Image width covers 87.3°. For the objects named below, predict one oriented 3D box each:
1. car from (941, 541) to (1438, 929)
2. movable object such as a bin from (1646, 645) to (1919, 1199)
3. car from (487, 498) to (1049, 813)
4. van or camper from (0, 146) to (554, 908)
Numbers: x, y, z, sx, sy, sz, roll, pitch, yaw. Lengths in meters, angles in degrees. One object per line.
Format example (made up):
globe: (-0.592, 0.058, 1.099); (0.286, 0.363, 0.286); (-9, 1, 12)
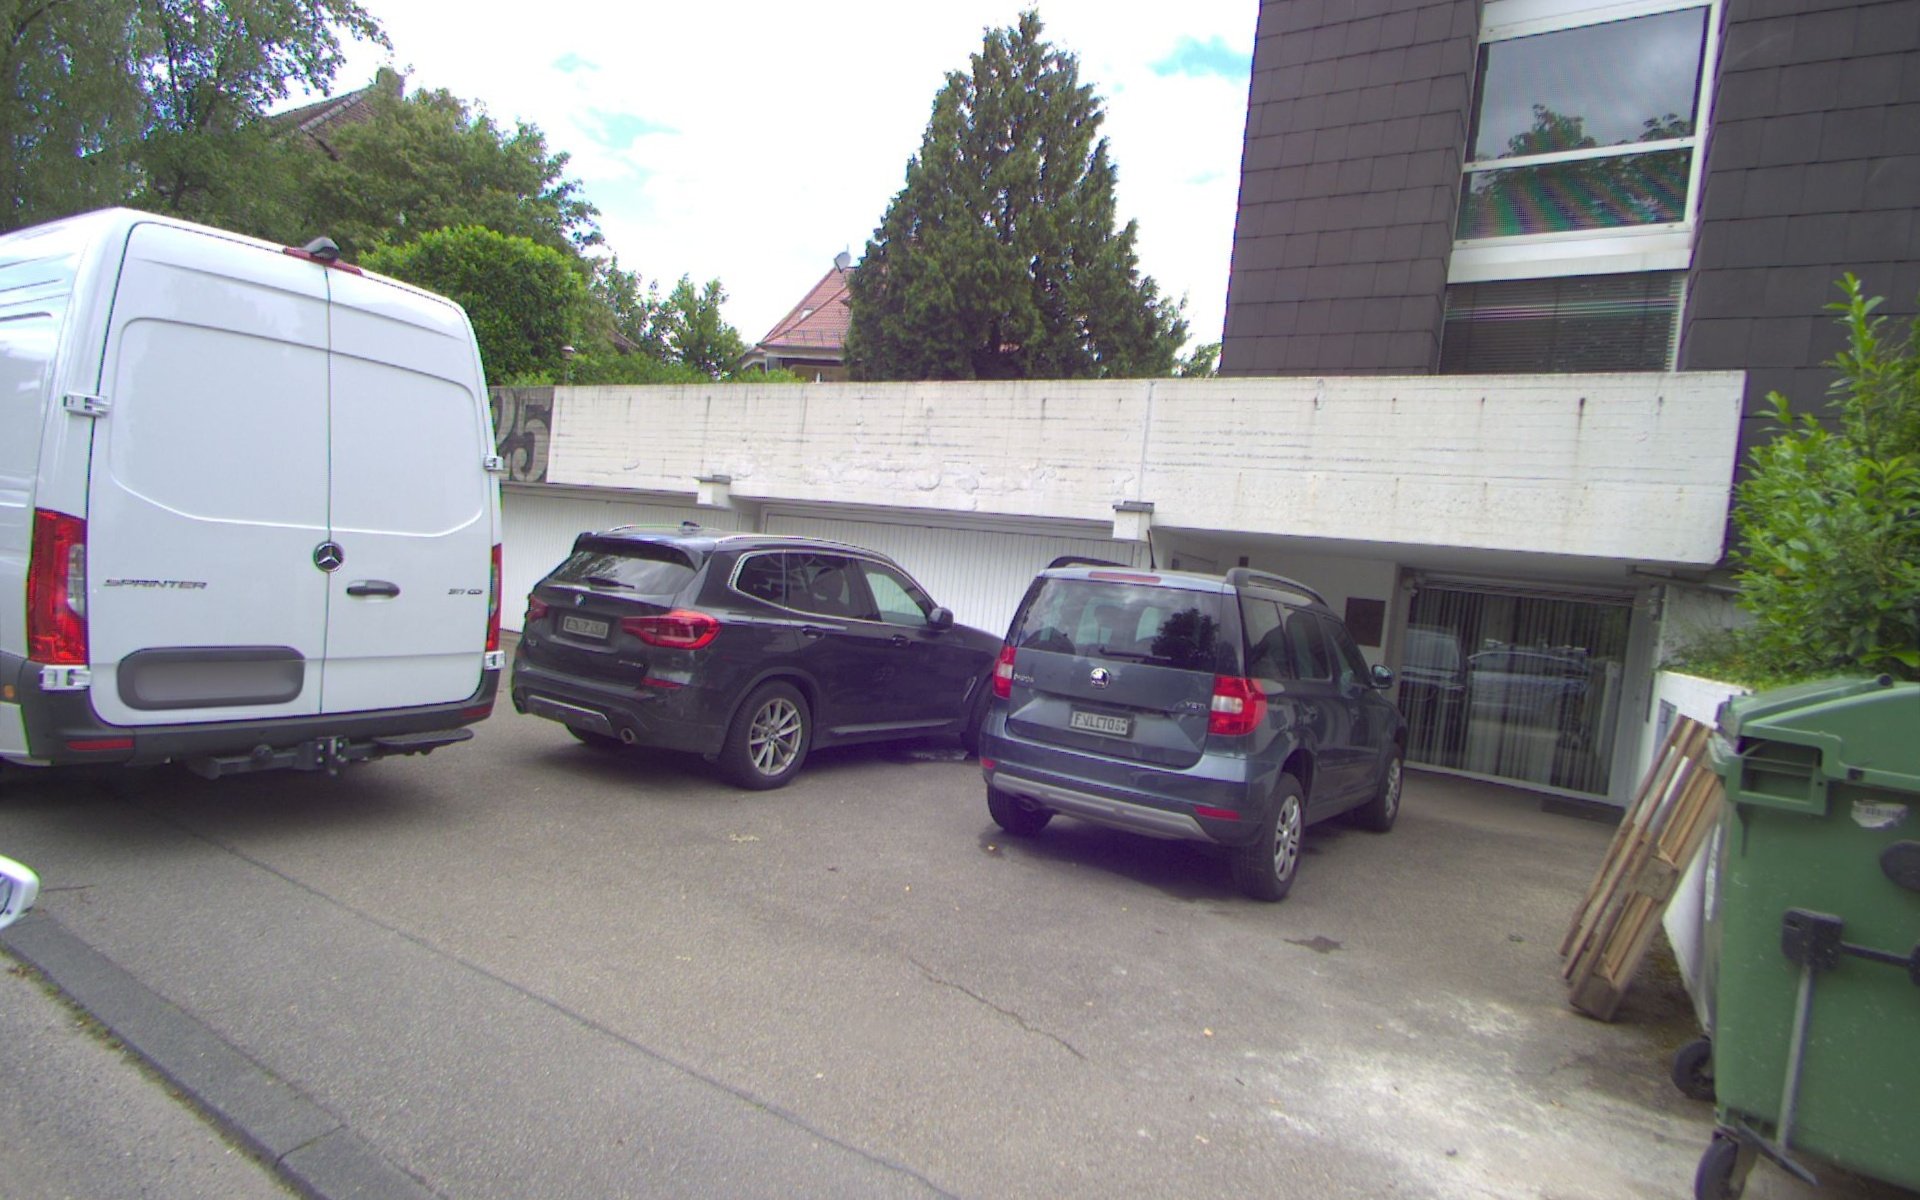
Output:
car: (1.775, 0.673, 6.622); (1.717, 1.673, 3.899); (6, 1, 35)
movable object such as a bin: (2.699, 0.929, 2.801); (1.098, 1.469, 1.405); (6, 1, 32)
car: (-1.116, 0.356, 7.862); (1.668, 1.696, 4.383); (6, 1, 32)
van or camper: (-5.398, -0.508, 6.066); (6.436, 2.662, 1.990); (6, 4, 32)
